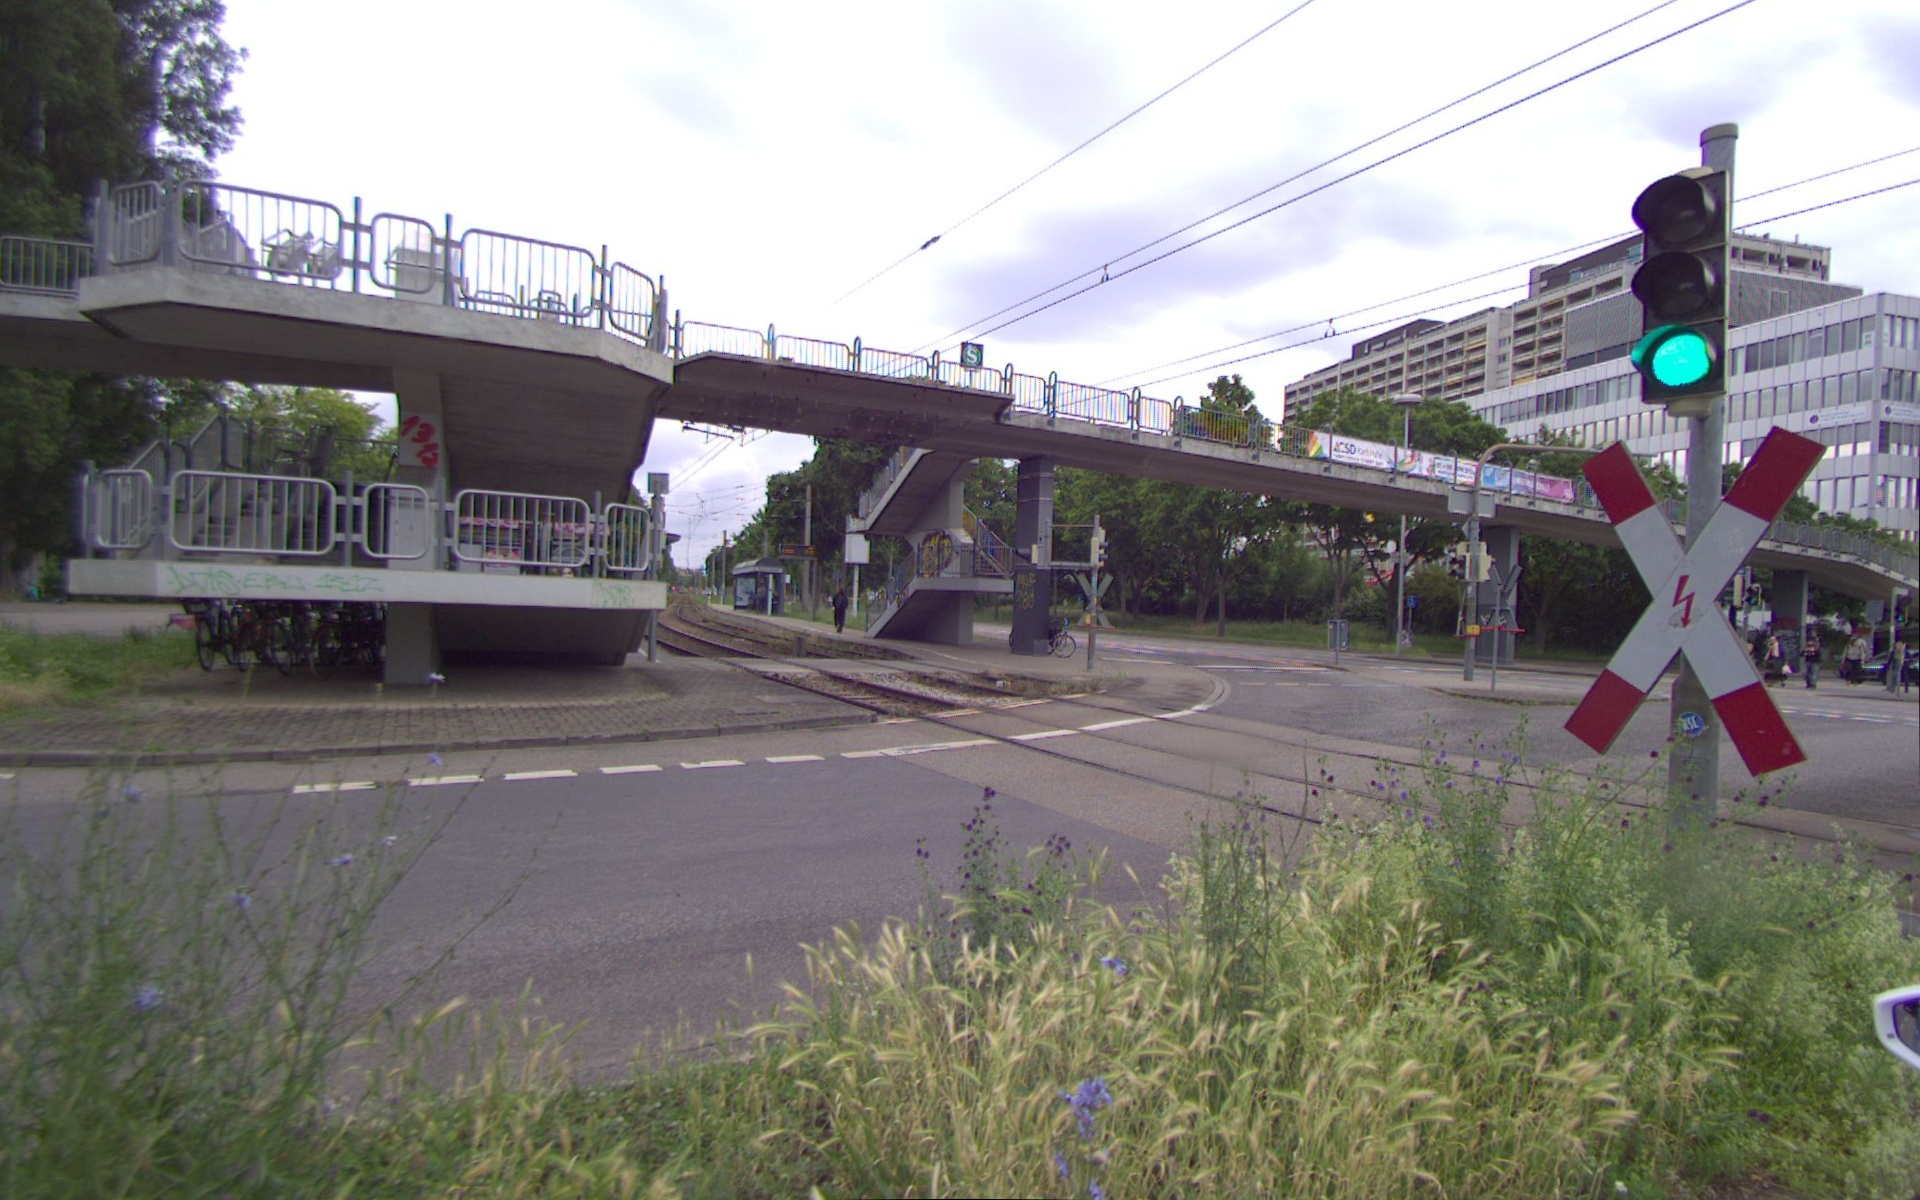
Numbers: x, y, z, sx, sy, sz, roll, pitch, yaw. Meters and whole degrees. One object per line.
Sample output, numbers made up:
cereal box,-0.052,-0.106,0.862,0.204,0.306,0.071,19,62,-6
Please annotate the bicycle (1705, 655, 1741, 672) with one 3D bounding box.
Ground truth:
bicycle,35.956,2.993,47.331,1.273,0.701,0.290,3,1,24

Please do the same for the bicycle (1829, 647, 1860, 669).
bicycle,41.404,2.701,47.012,1.689,0.961,0.524,3,0,-30

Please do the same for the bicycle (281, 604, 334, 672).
bicycle,-9.405,0.525,14.522,0.389,0.897,1.631,2,0,-25

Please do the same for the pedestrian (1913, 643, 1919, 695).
pedestrian,30.326,2.176,31.362,0.483,1.626,0.682,2,1,-35

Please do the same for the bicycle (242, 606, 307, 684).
bicycle,-8.749,0.548,12.857,0.389,0.897,1.631,2,0,-25

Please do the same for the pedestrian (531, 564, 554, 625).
pedestrian,-11.785,-0.154,28.350,0.535,1.687,0.682,1,1,-24

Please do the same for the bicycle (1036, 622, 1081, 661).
bicycle,2.609,1.094,26.850,0.368,0.934,2.029,2,0,-18

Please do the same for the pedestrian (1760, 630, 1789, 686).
pedestrian,25.810,1.835,31.831,0.402,1.714,0.612,2,1,-44

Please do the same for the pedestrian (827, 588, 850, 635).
pedestrian,-4.386,0.399,36.366,0.594,1.664,0.659,2,0,-26

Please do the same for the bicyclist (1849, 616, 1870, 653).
bicyclist,41.648,1.577,46.513,0.525,1.666,0.562,3,0,-30

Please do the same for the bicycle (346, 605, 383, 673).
bicycle,-8.830,0.557,14.867,0.390,0.897,1.627,2,0,-33

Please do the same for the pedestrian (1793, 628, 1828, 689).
pedestrian,26.467,1.810,31.249,0.795,1.828,0.631,2,1,-39

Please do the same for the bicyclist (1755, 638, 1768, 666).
bicyclist,38.150,2.460,47.833,0.376,1.321,0.278,2,0,23

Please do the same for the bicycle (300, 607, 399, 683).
bicycle,-8.005,0.563,13.246,0.387,0.897,1.741,2,0,-6

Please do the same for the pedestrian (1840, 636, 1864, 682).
pedestrian,31.548,2.081,35.533,0.572,1.600,0.777,3,0,41

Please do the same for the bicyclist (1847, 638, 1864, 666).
bicyclist,38.967,2.265,43.721,0.372,1.197,0.403,2,0,-28

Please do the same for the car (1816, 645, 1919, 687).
car,36.682,2.631,40.385,4.336,1.528,1.663,2,1,-23

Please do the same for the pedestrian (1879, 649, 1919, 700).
pedestrian,30.106,2.371,32.182,0.401,1.531,0.909,2,1,-41

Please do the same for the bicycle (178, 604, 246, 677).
bicycle,-10.040,0.522,13.522,0.389,0.897,1.631,2,0,-25

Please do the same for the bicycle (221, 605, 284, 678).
bicycle,-9.670,0.547,13.767,0.389,0.897,1.631,2,0,-25

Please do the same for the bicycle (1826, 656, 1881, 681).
bicycle,38.808,2.978,43.624,1.919,0.961,0.763,2,0,-11
